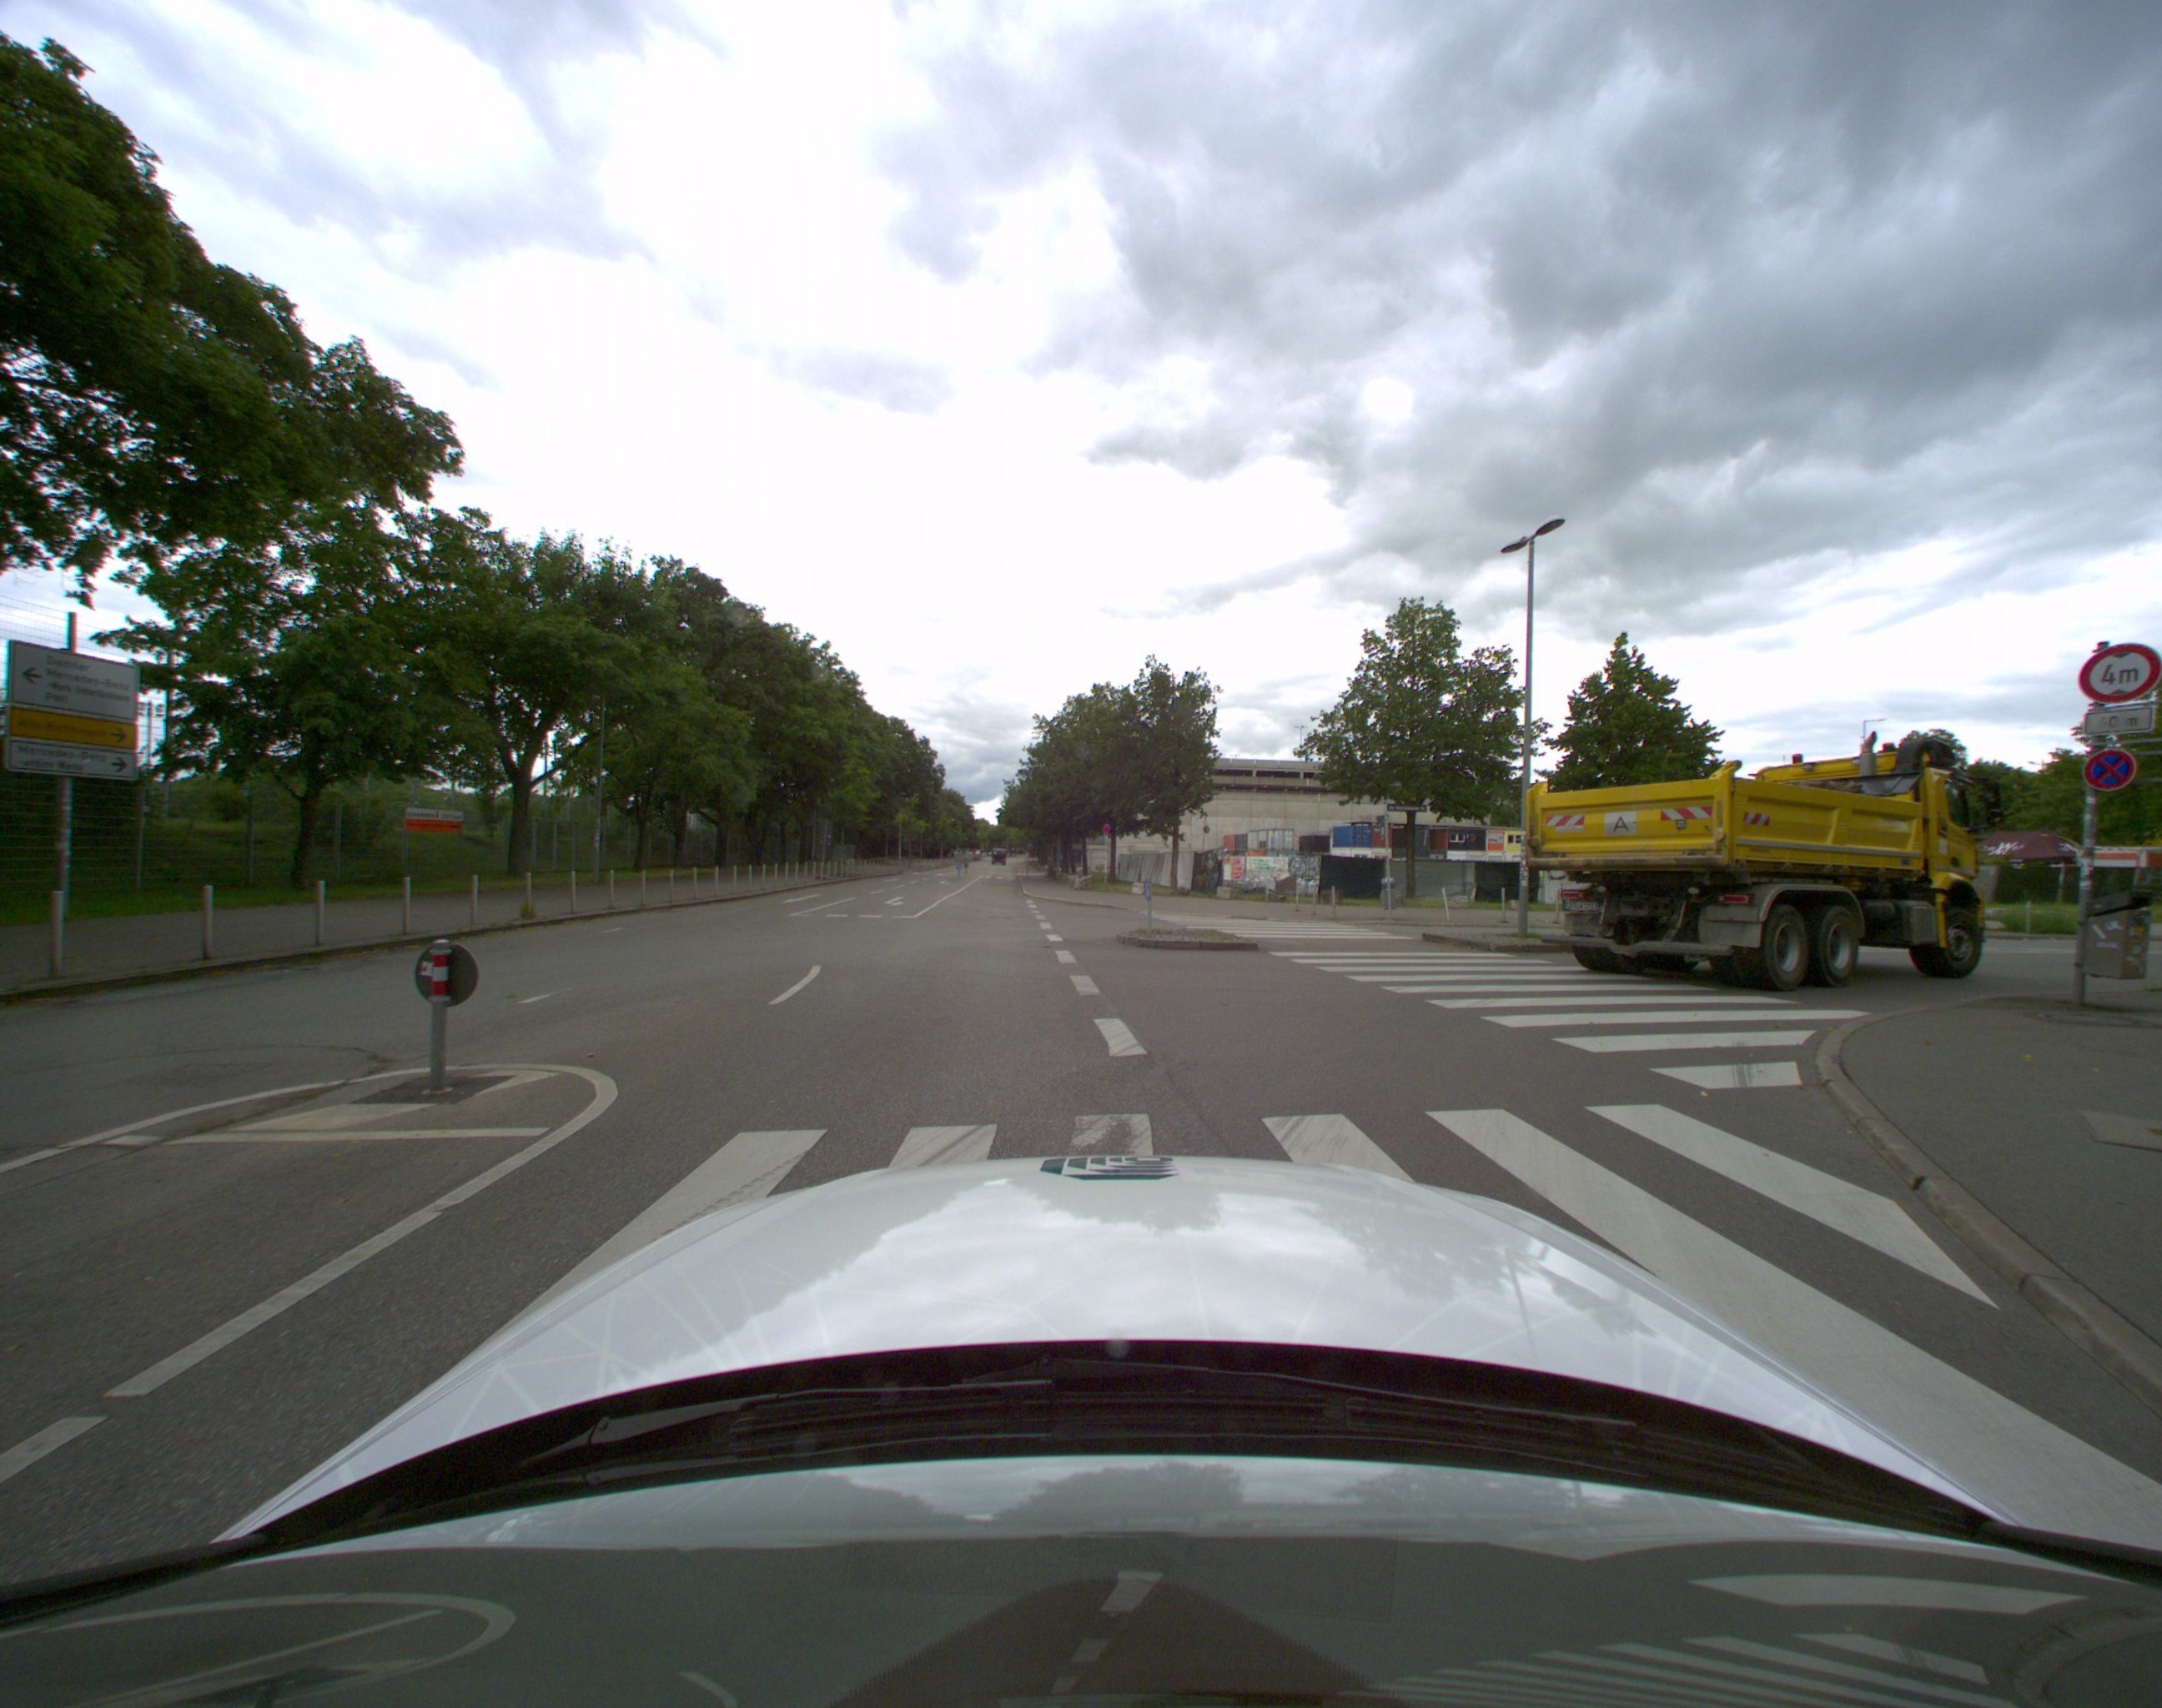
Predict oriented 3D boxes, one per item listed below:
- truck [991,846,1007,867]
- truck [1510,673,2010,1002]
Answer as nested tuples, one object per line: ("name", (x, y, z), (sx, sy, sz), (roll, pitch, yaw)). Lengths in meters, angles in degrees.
("truck", (-14.702, 0.431, 146.119), (2.669, 3.558, 7.907), (-1, -1, -6))
("truck", (10.248, -0.143, 12.116), (7.894, 3.699, 2.743), (1, -1, -26))
